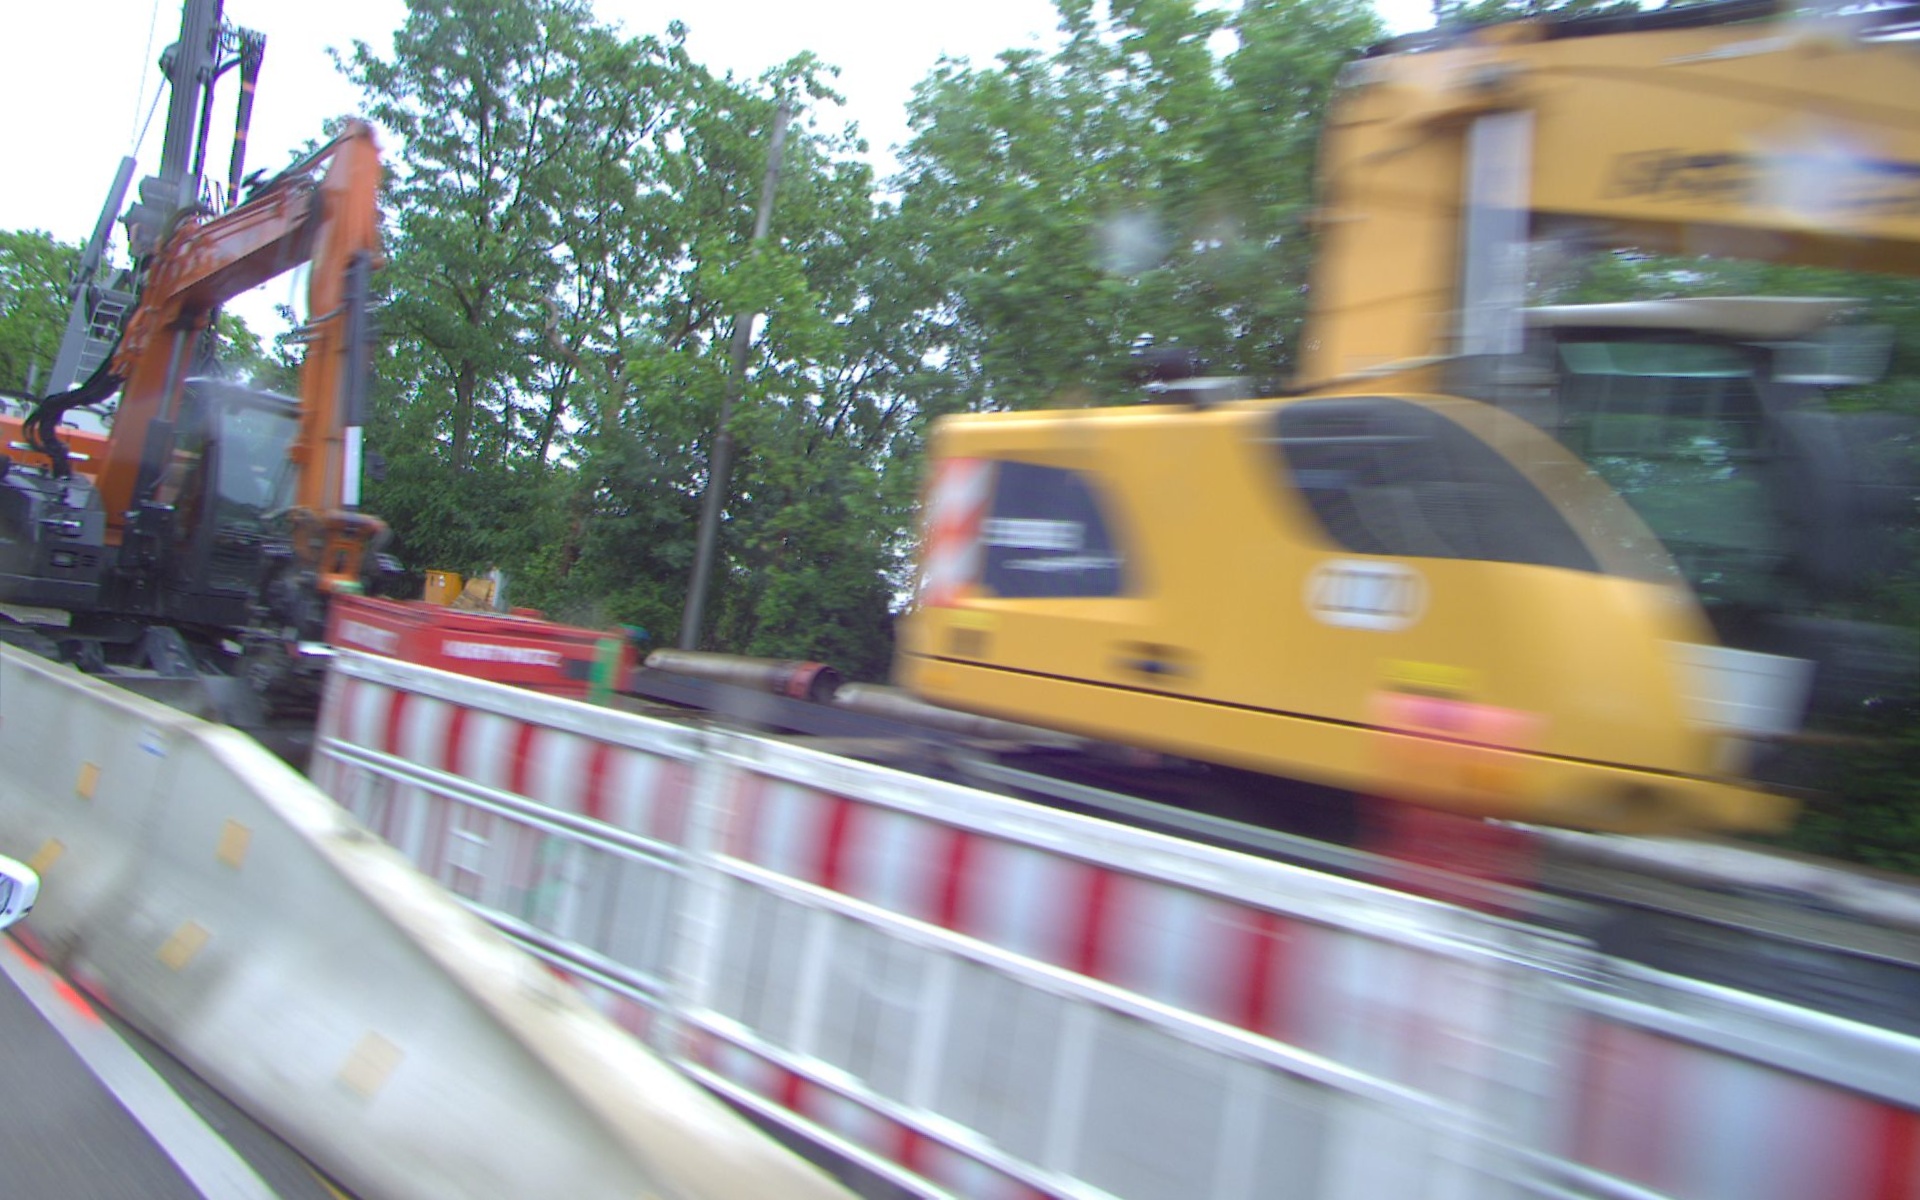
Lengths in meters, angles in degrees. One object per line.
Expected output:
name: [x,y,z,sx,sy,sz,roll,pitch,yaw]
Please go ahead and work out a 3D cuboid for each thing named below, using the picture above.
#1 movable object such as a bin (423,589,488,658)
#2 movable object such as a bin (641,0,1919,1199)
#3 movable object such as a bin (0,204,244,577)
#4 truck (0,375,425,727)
movable object such as a bin: [-10.631,0.497,21.198,0.830,1.322,0.757,6,-3,34]
movable object such as a bin: [1.564,-0.300,3.919,4.419,4.220,2.880,7,-1,38]
movable object such as a bin: [-15.684,-3.202,17.586,3.652,5.125,7.118,7,-2,-27]
truck: [-6.503,-0.291,8.028,3.252,2.132,2.554,6,-2,34]
